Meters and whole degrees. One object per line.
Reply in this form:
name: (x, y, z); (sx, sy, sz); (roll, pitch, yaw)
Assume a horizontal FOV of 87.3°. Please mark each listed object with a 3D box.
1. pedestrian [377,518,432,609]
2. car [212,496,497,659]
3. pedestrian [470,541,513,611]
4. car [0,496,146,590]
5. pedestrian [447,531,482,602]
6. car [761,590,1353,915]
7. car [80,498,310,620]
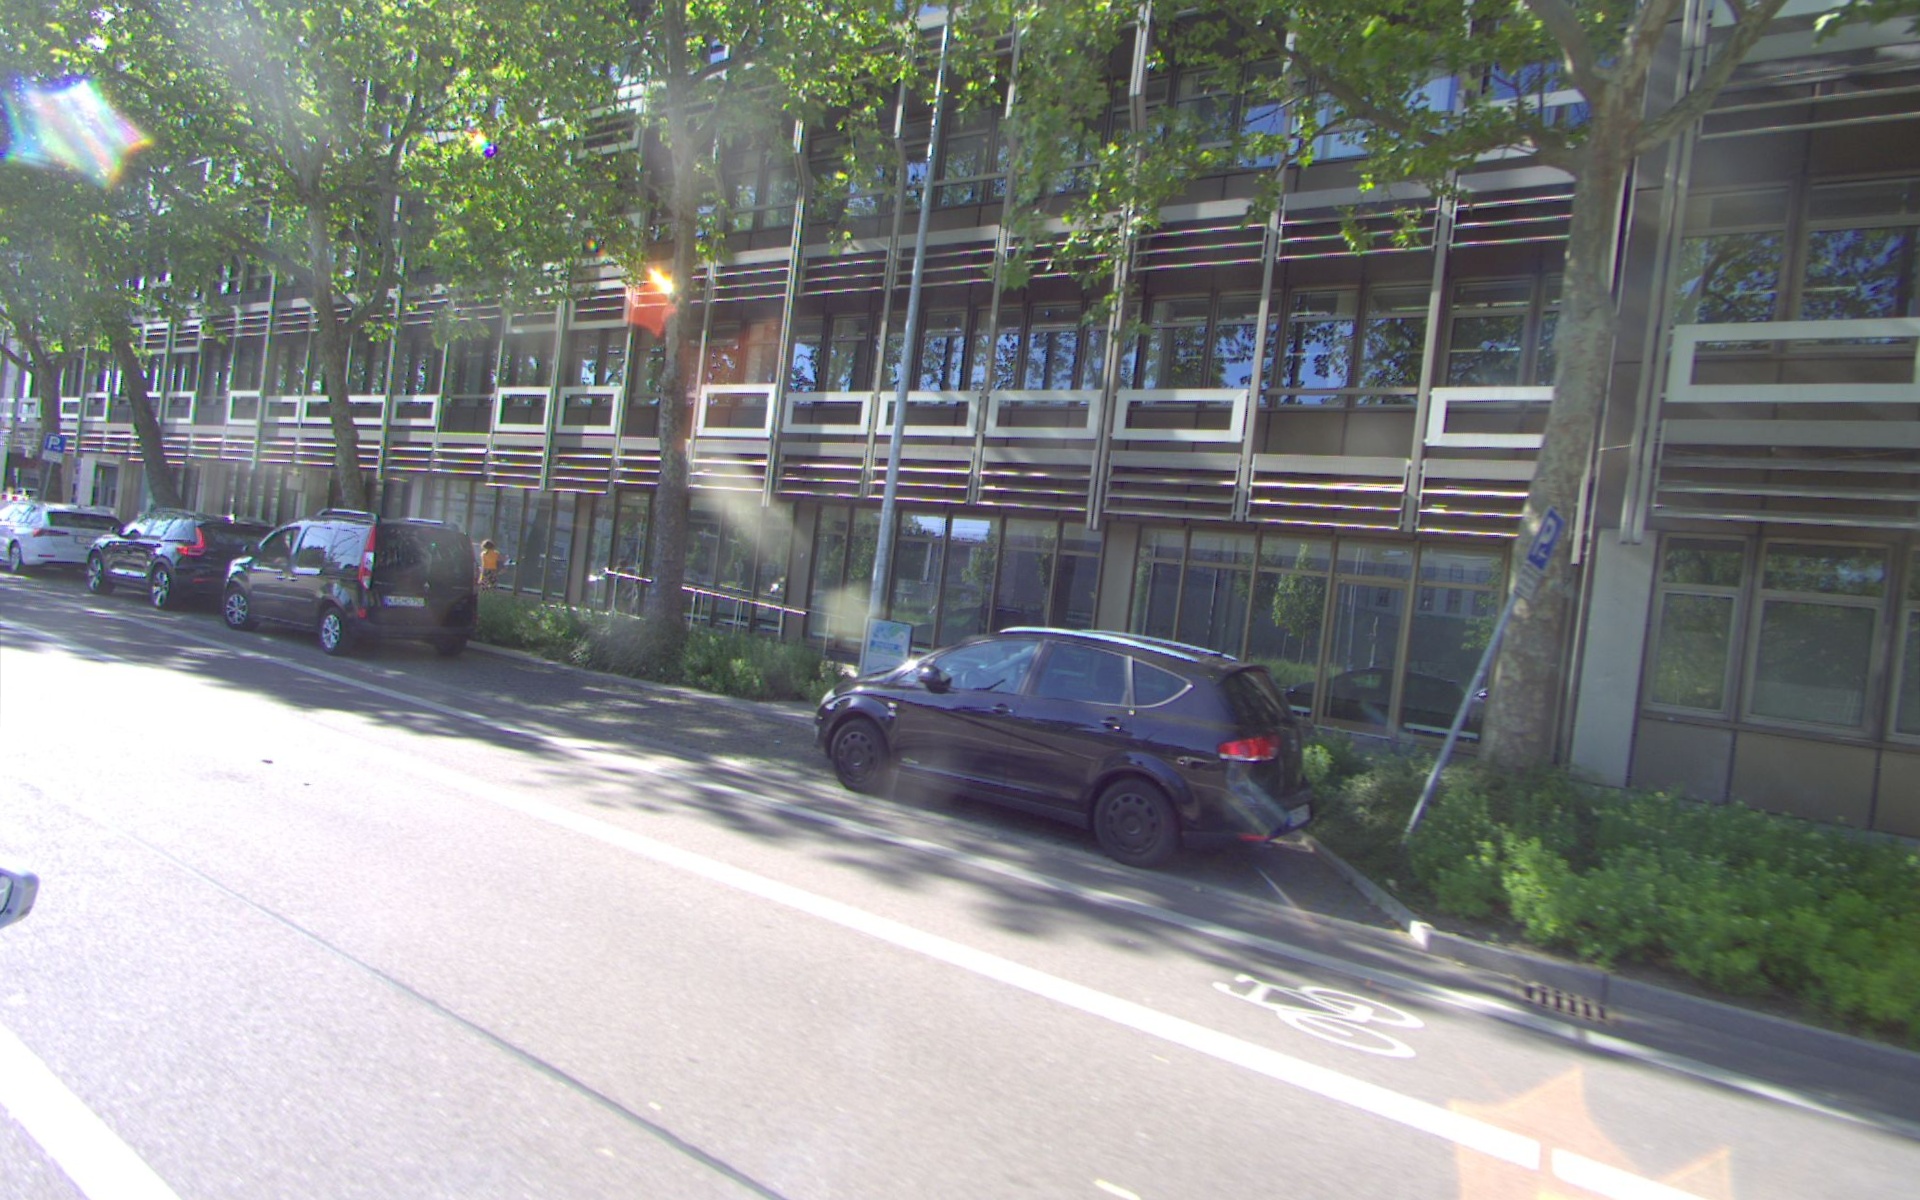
pedestrian: (-12.517, -0.823, 22.663); (0.548, 1.938, 0.678); (6, -2, 32)
car: (-8.645, -0.344, 14.266); (4.123, 1.813, 1.705); (7, 2, 32)
pedestrian: (-11.439, -0.581, 24.553); (0.564, 1.622, 0.554); (7, 0, 32)
car: (-18.958, -1.259, 20.919); (4.524, 1.510, 1.706); (7, -1, 32)
pedestrian: (-11.806, -0.797, 23.974); (0.492, 1.603, 0.316); (7, 0, 23)
car: (0.638, 1.018, 8.441); (4.561, 1.664, 1.704); (7, 1, 34)
car: (-13.222, -0.731, 17.329); (4.123, 1.582, 1.706); (7, -1, 32)
